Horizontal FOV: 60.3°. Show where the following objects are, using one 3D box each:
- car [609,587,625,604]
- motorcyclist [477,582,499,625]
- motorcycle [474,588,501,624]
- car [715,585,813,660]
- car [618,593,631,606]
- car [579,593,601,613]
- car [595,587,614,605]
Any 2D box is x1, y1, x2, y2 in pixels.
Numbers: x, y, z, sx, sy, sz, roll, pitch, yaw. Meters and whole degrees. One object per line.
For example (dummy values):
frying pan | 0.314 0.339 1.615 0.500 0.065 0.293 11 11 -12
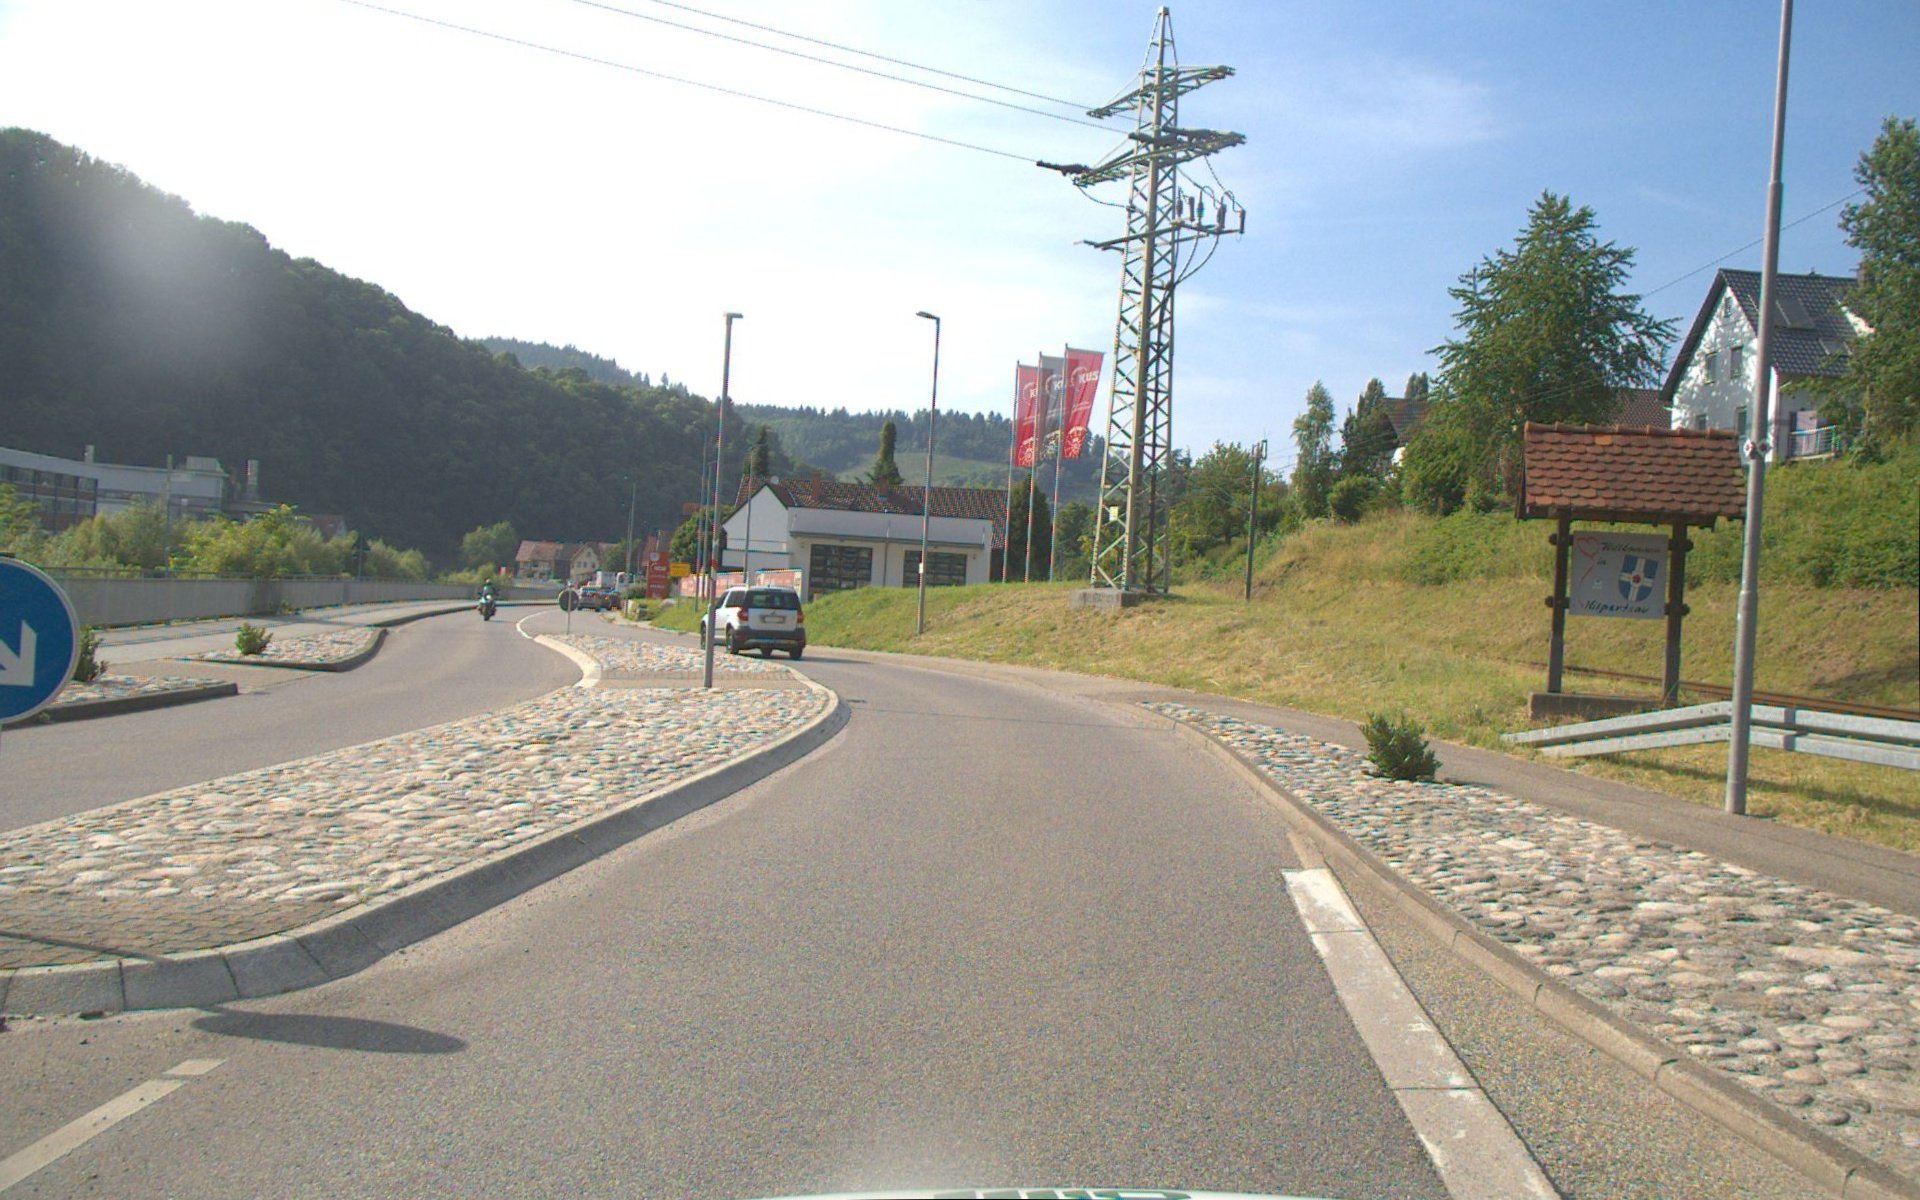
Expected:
car | -31.732 -0.458 153.058 1.268 1.460 2.800 4 0 -10
motorcyclist | -19.547 0.151 68.500 0.749 1.707 0.725 2 -2 -9
motorcycle | -19.572 0.258 68.569 0.758 1.447 2.313 2 -1 -10
car | -4.757 0.516 39.573 1.829 1.571 4.359 4 -1 -12
car | -33.365 -0.027 164.454 1.150 1.175 2.675 4 0 -13
car | -29.598 0.265 132.444 1.427 1.460 2.930 4 0 -9
car | -30.543 -0.335 142.109 1.332 1.460 2.832 4 0 -10
